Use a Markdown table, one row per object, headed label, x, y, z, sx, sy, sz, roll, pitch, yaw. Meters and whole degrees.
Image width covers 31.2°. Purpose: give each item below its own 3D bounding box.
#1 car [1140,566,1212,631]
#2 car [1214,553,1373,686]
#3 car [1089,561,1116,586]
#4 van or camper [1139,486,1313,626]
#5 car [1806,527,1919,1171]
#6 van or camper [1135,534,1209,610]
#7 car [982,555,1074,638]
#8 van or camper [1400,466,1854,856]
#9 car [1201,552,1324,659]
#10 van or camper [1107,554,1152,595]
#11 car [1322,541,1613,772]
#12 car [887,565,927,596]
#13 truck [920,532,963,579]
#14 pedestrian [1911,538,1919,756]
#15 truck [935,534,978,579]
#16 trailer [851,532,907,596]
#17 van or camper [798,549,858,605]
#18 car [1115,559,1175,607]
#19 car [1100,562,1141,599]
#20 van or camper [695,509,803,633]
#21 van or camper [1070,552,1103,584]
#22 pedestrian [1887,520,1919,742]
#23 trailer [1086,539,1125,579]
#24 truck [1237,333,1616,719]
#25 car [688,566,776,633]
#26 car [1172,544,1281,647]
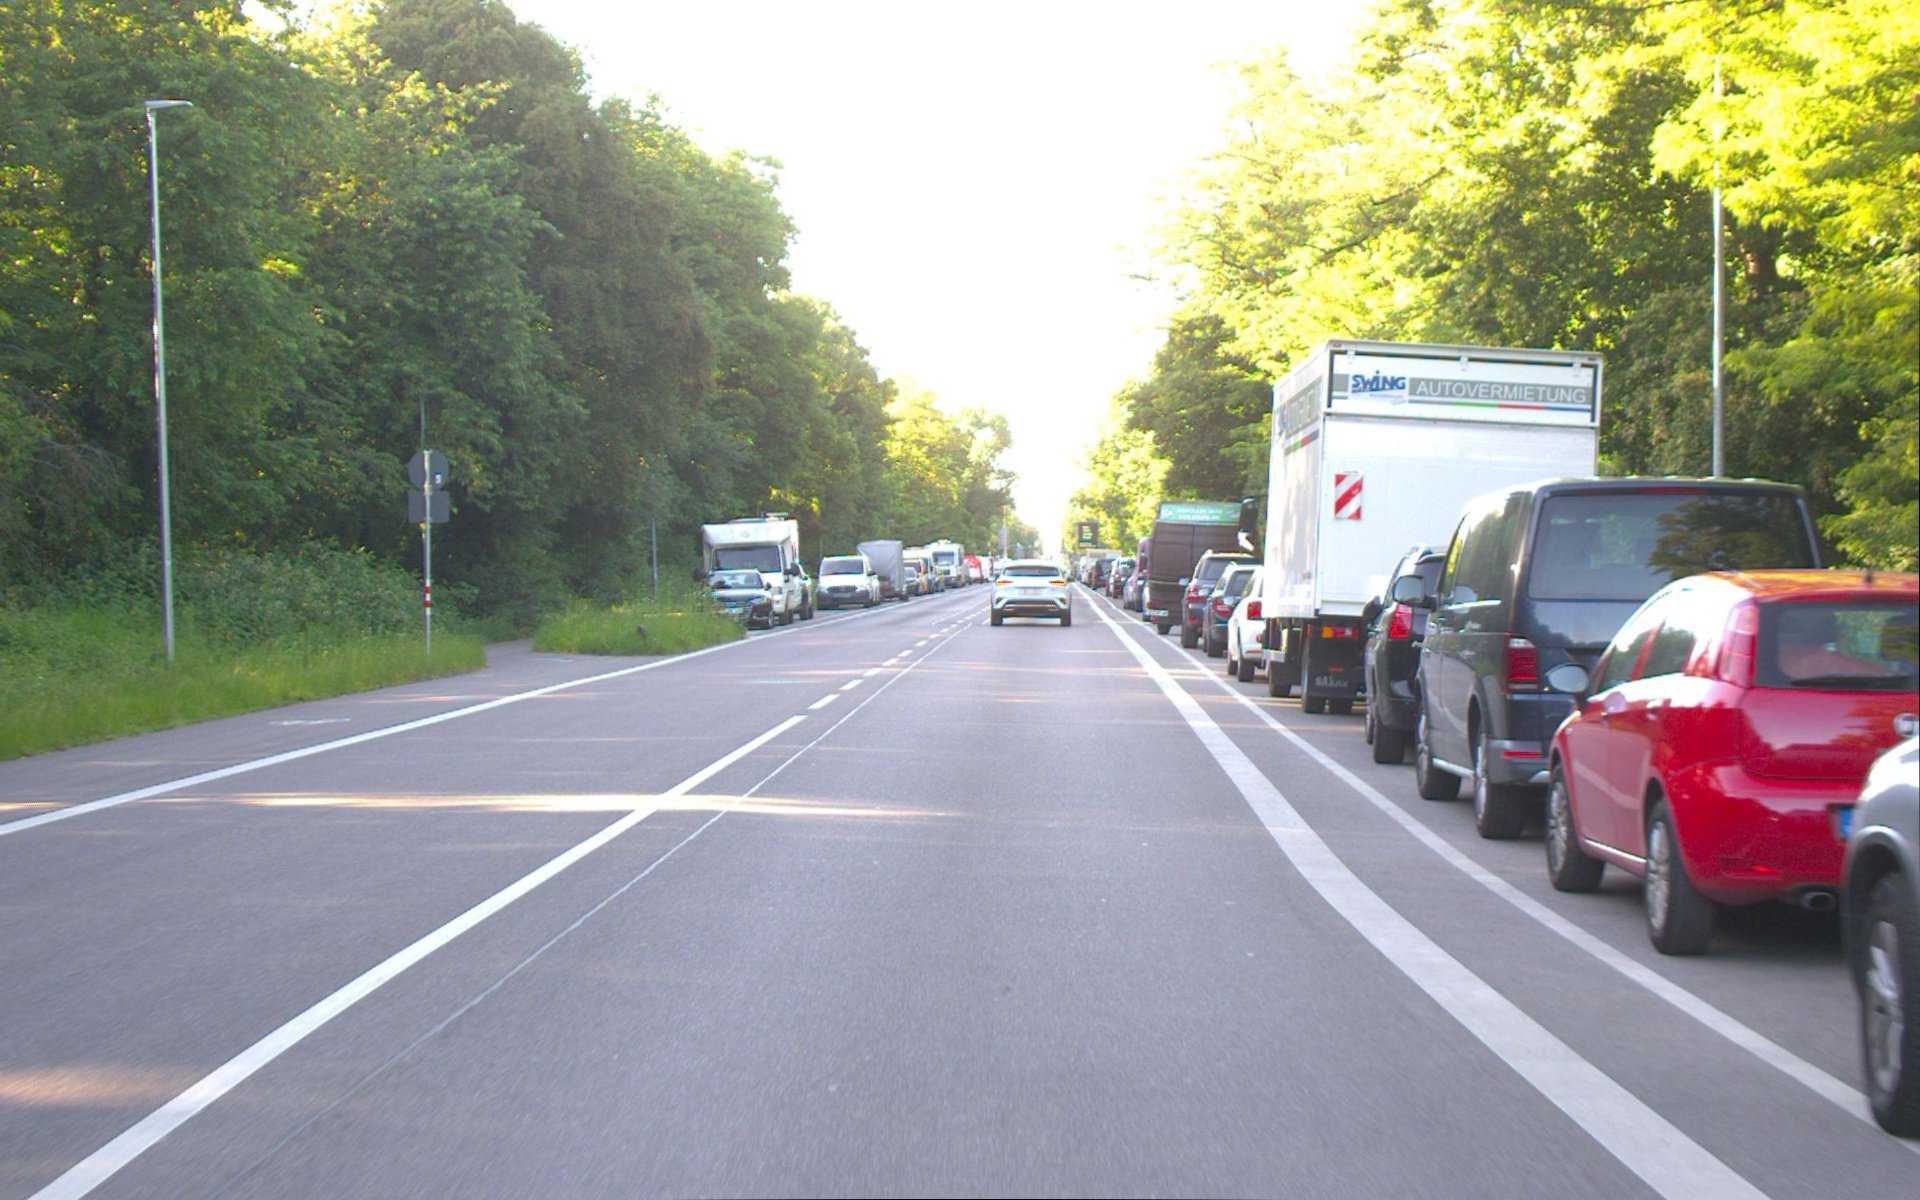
| label | x | y | z | sx | sy | sz | roll | pitch | yaw |
| --- | --- | --- | --- | --- | --- | --- | --- | --- | --- |
| car | 5.462 | -0.070 | 87.330 | 1.712 | 1.540 | 4.022 | 2 | 1 | 3 |
| car | 4.232 | 0.209 | 44.141 | 1.712 | 1.563 | 4.000 | 2 | 1 | 2 |
| car | 9.614 | -1.810 | 231.901 | 1.841 | 1.656 | 4.000 | 0 | 1 | 3 |
| van or camper | 5.695 | -0.952 | 72.636 | 2.442 | 2.790 | 6.552 | -1 | 1 | 15 |
| car | 3.257 | 0.620 | 7.575 | 1.798 | 1.589 | 4.029 | 0 | 1 | 0 |
| van or camper | 6.703 | -0.898 | 109.069 | 2.035 | 2.304 | 6.041 | -1 | 1 | 1 |
| car | 1.580 | -0.106 | 78.404 | 2.029 | 1.834 | 4.029 | 0 | 1 | 2 |
| van or camper | 3.740 | 0.284 | 20.074 | 1.897 | 2.007 | 4.586 | 0 | 1 | 2 |
| car | 4.724 | 0.056 | 54.208 | 1.712 | 1.563 | 4.551 | 2 | 1 | 3 |
| van or camper | 7.663 | -1.176 | 155.659 | 1.951 | 1.809 | 4.380 | 0 | 1 | 2 |
| car | 3.874 | 0.378 | 26.834 | 1.799 | 1.651 | 4.029 | 0 | 1 | 2 |
| car | -2.641 | -1.009 | 172.119 | 1.731 | 1.473 | 4.324 | -2 | 1 | 2 |
| truck | -1.316 | -3.195 | 249.979 | 2.708 | 3.336 | 10.923 | 0 | 1 | 2 |
| pedestrian | 7.220 | 0.338 | 24.824 | 0.563 | 1.582 | 0.482 | -1 | 1 | 1 |
| truck | -0.207 | -3.012 | 238.591 | 2.708 | 3.083 | 7.989 | 0 | 1 | 2 |
| trailer | -3.419 | -1.522 | 145.750 | 1.993 | 2.589 | 4.415 | -3 | 0 | 2 |
| van or camper | -4.683 | -0.825 | 122.675 | 1.835 | 1.905 | 4.856 | -2 | 1 | 1 |
| car | 6.217 | -0.593 | 115.667 | 1.747 | 1.510 | 4.000 | -2 | 1 | 0 |
| car | 6.953 | -0.860 | 149.115 | 1.690 | 1.519 | 4.149 | 1 | 1 | 2 |
| van or camper | -5.382 | -0.768 | 88.572 | 2.314 | 2.960 | 7.111 | -3 | 1 | -1 |
| van or camper | 7.685 | -1.950 | 209.224 | 1.993 | 1.925 | 5.199 | 1 | 1 | 2 |
| pedestrian | 7.872 | 0.233 | 27.583 | 0.618 | 1.758 | 0.907 | -1 | 1 | 1 |
| trailer | 10.727 | -3.029 | 253.890 | 2.757 | 2.860 | 6.588 | 0 | 1 | 2 |
| truck | 4.589 | -0.737 | 35.531 | 2.832 | 3.485 | 8.578 | 0 | 1 | 1 |
| car | -5.364 | -0.039 | 81.271 | 1.827 | 1.471 | 4.681 | -2 | 1 | -1 |
| car | 4.581 | -0.112 | 59.569 | 1.712 | 1.659 | 4.551 | 2 | 1 | 3 |
